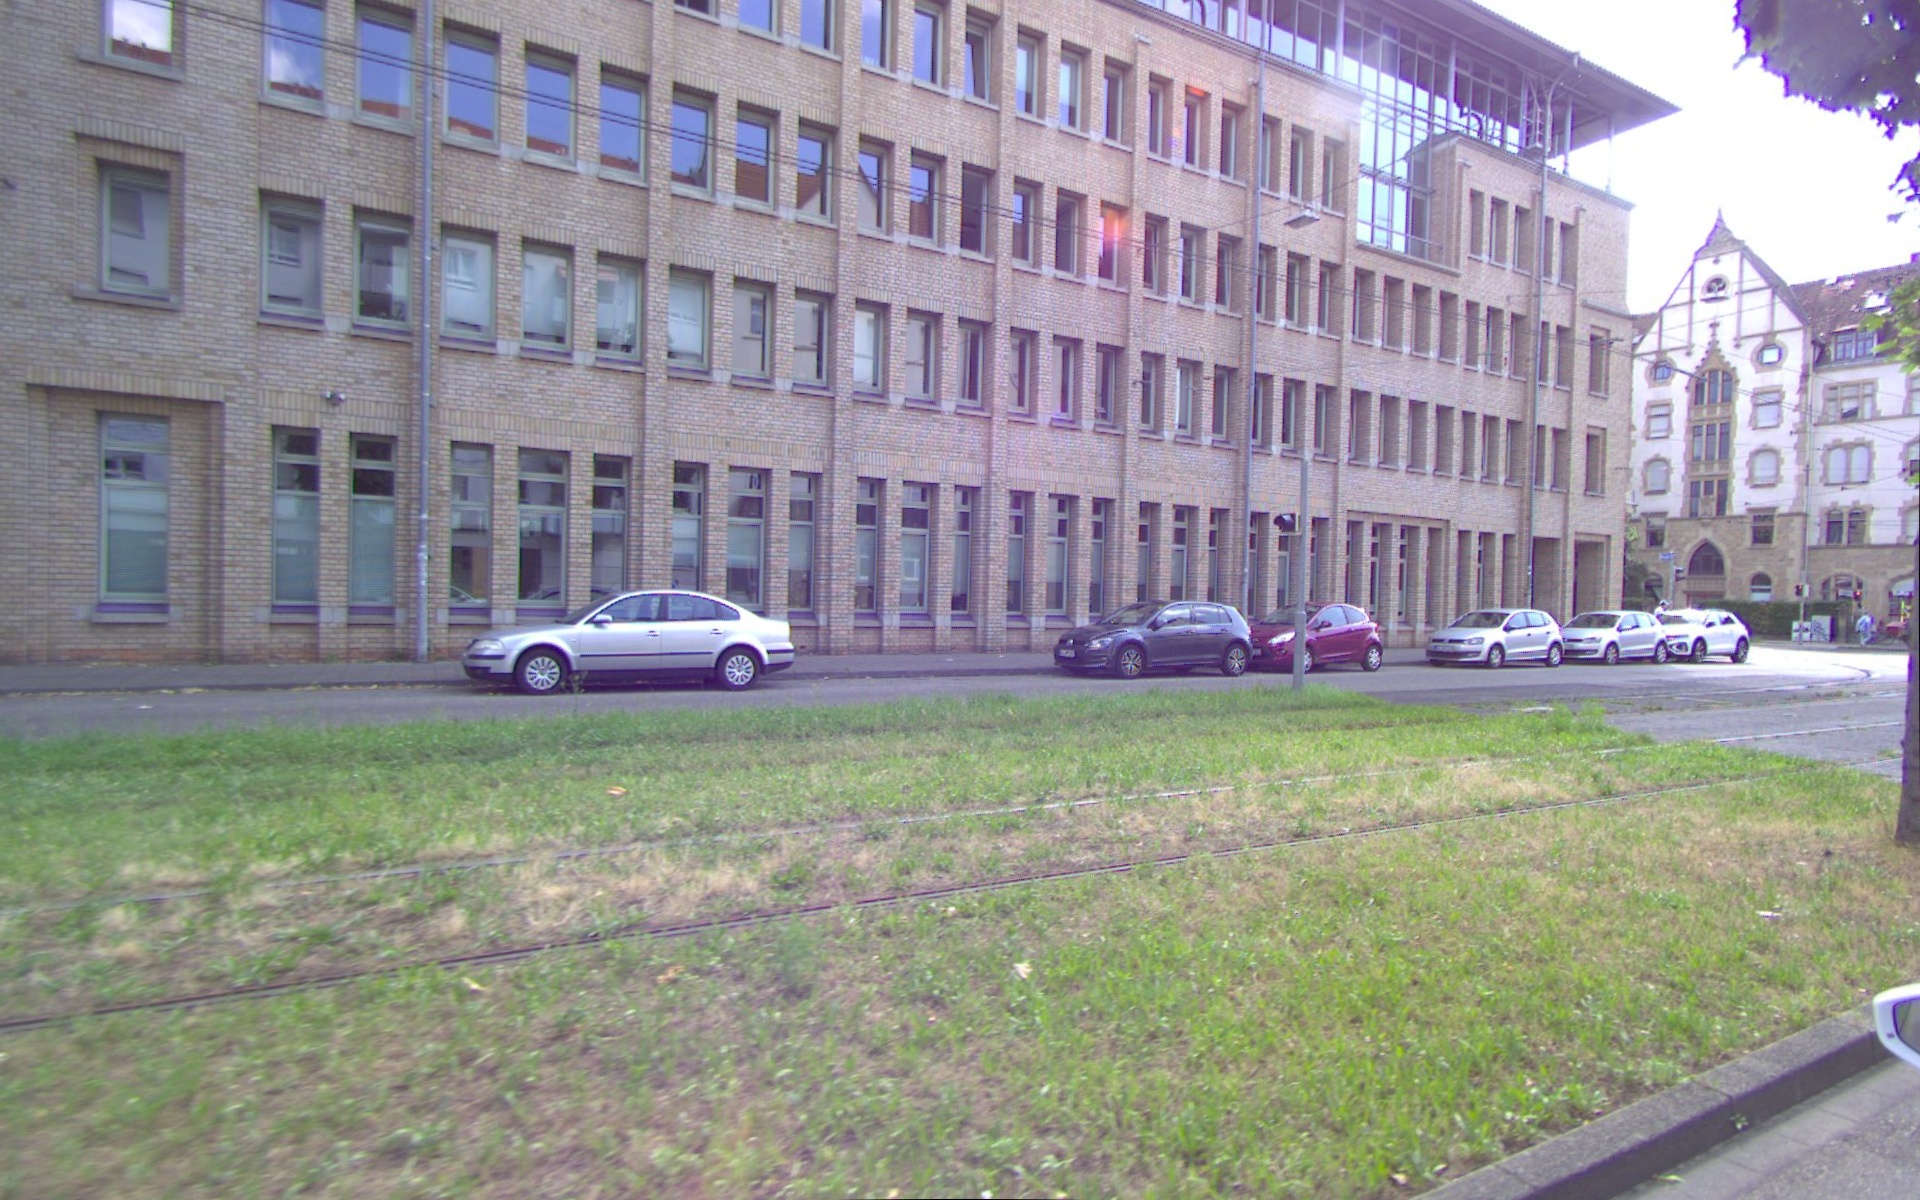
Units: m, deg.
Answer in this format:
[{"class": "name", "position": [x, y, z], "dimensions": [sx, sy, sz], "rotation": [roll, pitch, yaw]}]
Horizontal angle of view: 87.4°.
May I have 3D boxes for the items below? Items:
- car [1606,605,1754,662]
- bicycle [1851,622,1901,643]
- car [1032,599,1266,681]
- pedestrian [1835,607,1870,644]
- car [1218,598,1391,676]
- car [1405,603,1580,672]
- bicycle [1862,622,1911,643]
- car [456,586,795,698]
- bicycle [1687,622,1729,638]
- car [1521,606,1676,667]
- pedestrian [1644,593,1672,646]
[{"class": "car", "position": [21.414, 0.974, 29.867], "dimensions": [4.205, 1.555, 1.925], "rotation": [1, 1, -28]}, {"class": "bicycle", "position": [49.521, 1.741, 54.307], "dimensions": [0.772, 1.095, 1.900], "rotation": [1, 0, -39]}, {"class": "car", "position": [3.682, 0.749, 19.515], "dimensions": [4.186, 1.415, 1.925], "rotation": [1, 1, -28]}, {"class": "pedestrian", "position": [43.196, 1.226, 48.632], "dimensions": [1.003, 1.745, 0.776], "rotation": [2, 1, 17]}, {"class": "car", "position": [7.482, 0.771, 21.790], "dimensions": [3.505, 1.551, 1.576], "rotation": [1, 1, -28]}, {"class": "car", "position": [13.276, 0.905, 24.997], "dimensions": [4.158, 1.551, 1.843], "rotation": [1, 1, -28]}, {"class": "bicycle", "position": [51.411, 1.791, 55.756], "dimensions": [0.772, 1.095, 1.900], "rotation": [1, 0, -39]}, {"class": "car", "position": [-4.794, 0.566, 14.548], "dimensions": [4.429, 1.415, 1.708], "rotation": [1, 1, -28]}, {"class": "bicycle", "position": [43.616, 1.741, 58.567], "dimensions": [0.466, 0.859, 1.900], "rotation": [1, 0, -39]}, {"class": "car", "position": [17.630, 0.981, 27.732], "dimensions": [3.964, 1.551, 1.925], "rotation": [1, 1, -28]}, {"class": "pedestrian", "position": [24.616, 0.670, 35.407], "dimensions": [0.750, 1.819, 0.957], "rotation": [2, 1, 36]}]
